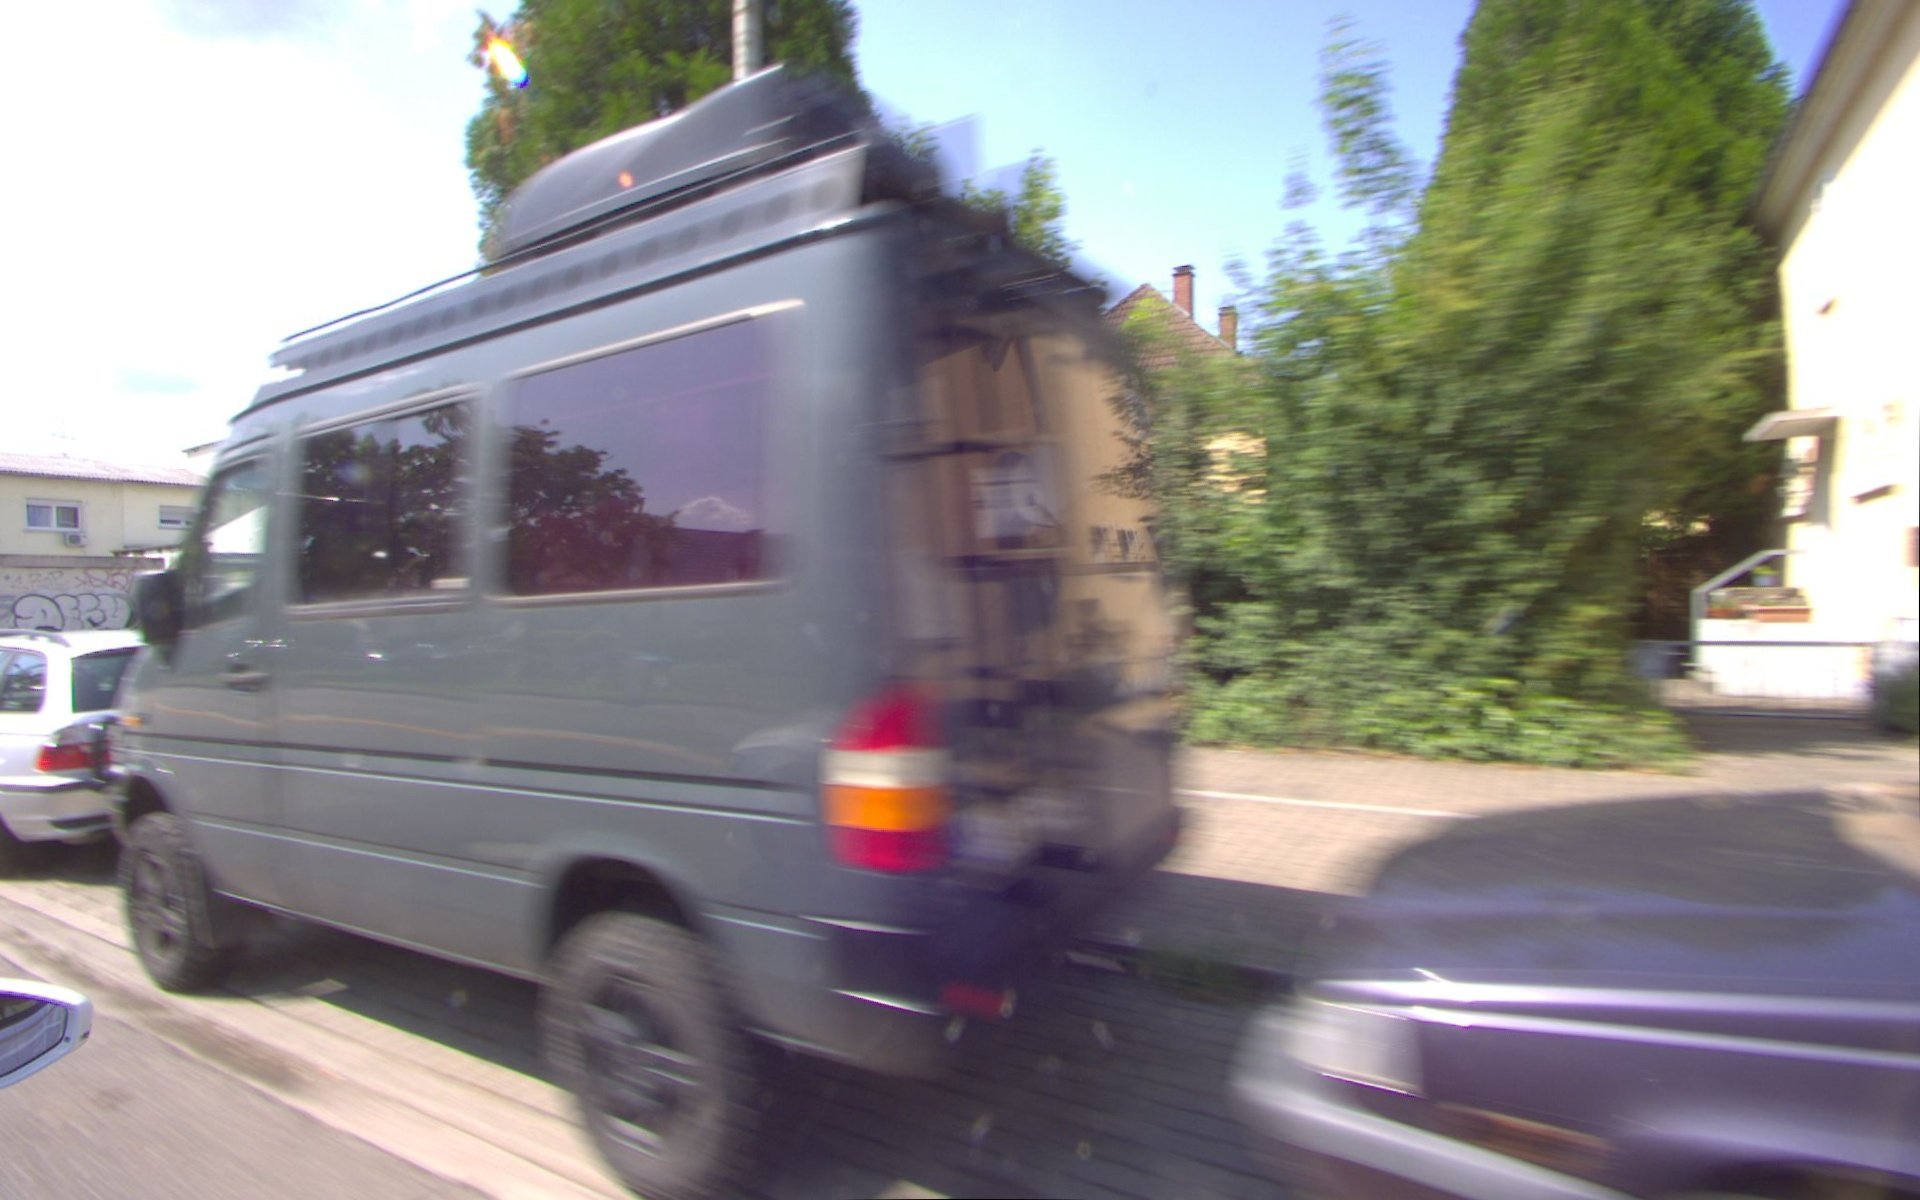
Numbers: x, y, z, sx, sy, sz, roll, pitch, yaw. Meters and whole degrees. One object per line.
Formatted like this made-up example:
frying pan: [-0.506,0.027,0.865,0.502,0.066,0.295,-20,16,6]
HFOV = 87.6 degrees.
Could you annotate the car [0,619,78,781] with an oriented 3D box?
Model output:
car: [-10.562,0.961,9.939,4.039,1.450,1.647,-1,1,33]

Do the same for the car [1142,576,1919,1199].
car: [2.819,0.667,1.359,4.768,1.421,1.717,-1,2,32]

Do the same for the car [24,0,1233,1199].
car: [-1.580,0.133,4.066,4.809,2.798,1.991,-1,2,32]

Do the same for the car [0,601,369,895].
car: [-6.343,0.842,7.180,4.291,1.536,1.688,-1,1,30]
